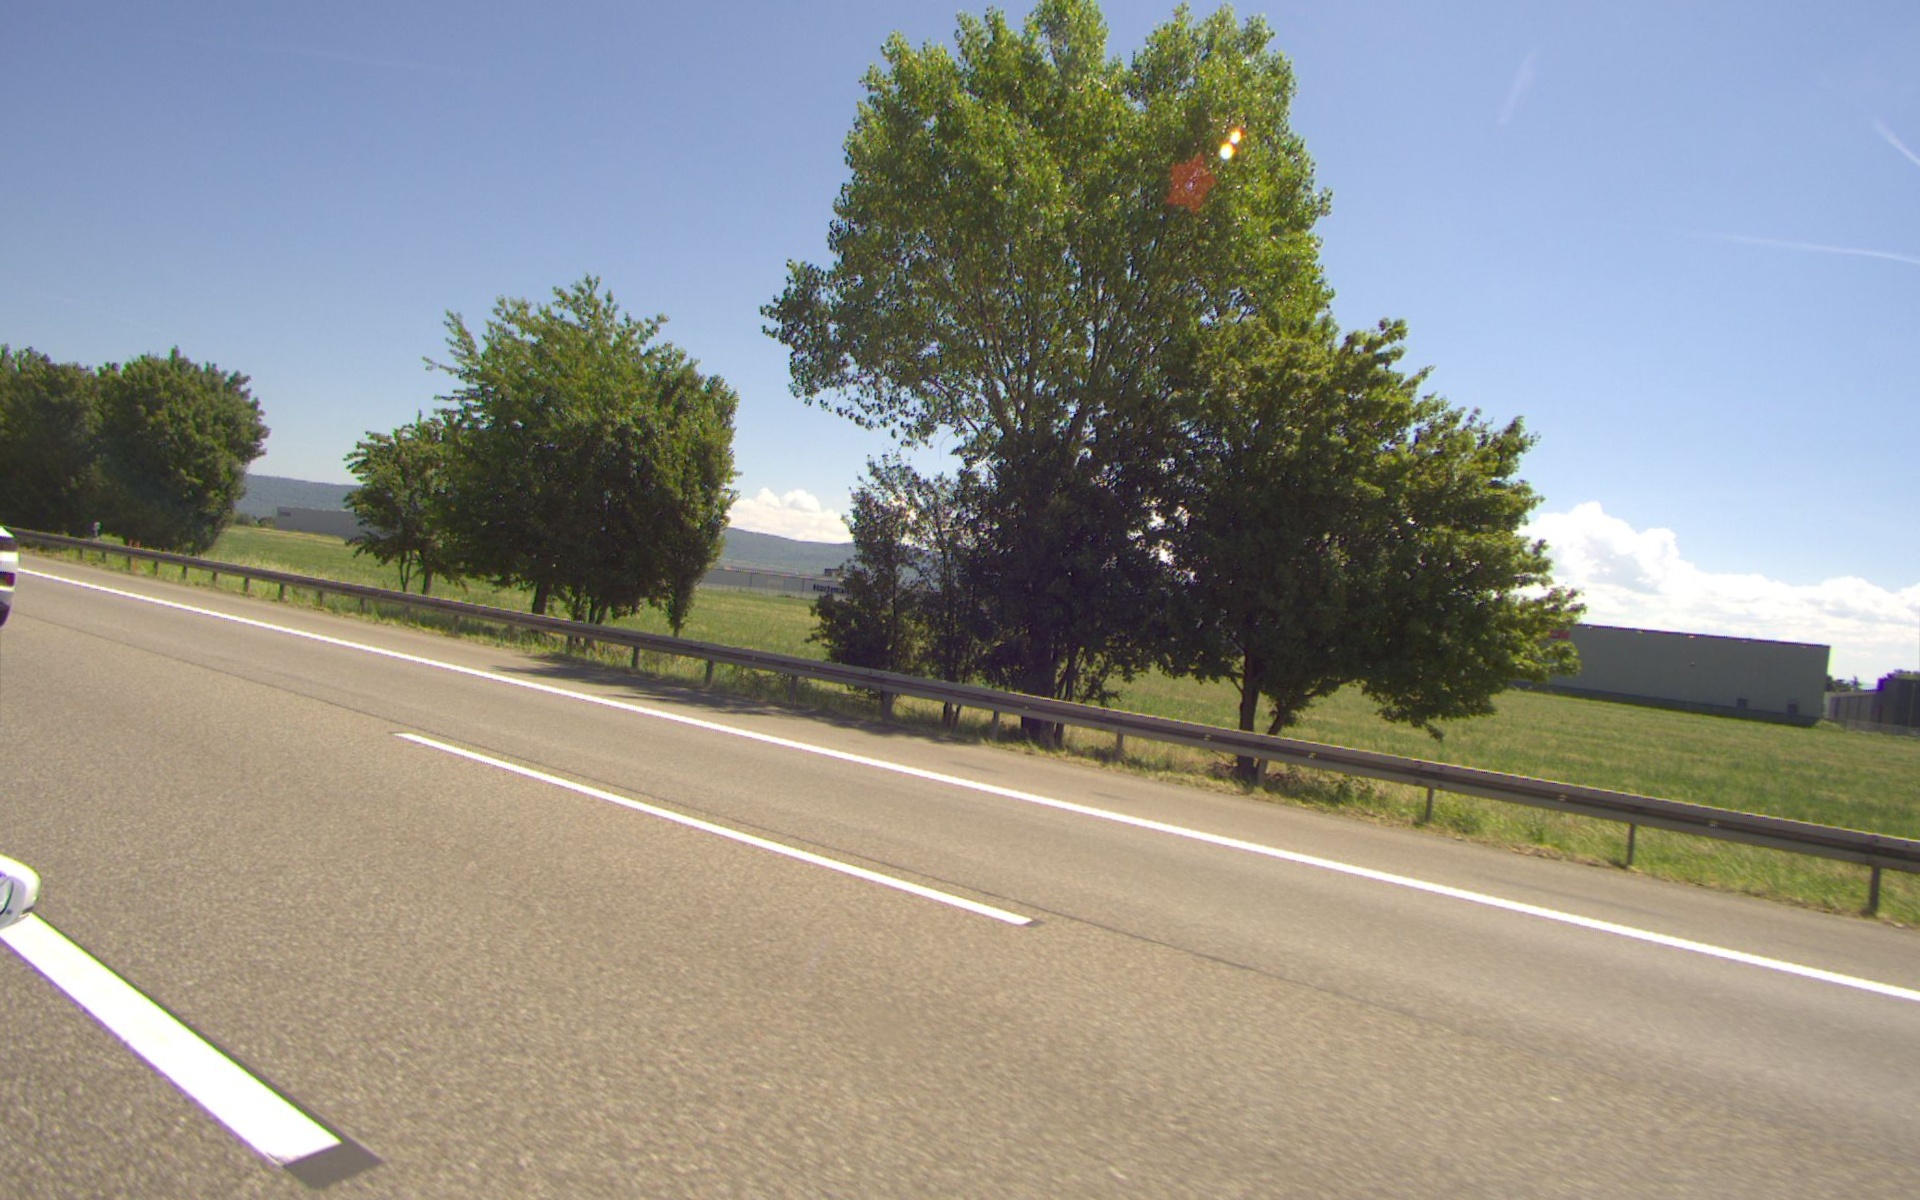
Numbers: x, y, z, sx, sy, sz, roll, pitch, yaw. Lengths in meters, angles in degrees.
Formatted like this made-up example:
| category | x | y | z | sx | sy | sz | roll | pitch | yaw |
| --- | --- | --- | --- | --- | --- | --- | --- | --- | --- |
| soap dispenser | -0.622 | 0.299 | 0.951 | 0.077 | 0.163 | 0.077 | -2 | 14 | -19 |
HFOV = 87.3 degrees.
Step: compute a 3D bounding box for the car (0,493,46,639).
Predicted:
| category | x | y | z | sx | sy | sz | roll | pitch | yaw |
| --- | --- | --- | --- | --- | --- | --- | --- | --- | --- |
| car | -12.924 | -0.658 | 11.942 | 4.307 | 1.621 | 1.806 | 7 | -2 | 31 |
